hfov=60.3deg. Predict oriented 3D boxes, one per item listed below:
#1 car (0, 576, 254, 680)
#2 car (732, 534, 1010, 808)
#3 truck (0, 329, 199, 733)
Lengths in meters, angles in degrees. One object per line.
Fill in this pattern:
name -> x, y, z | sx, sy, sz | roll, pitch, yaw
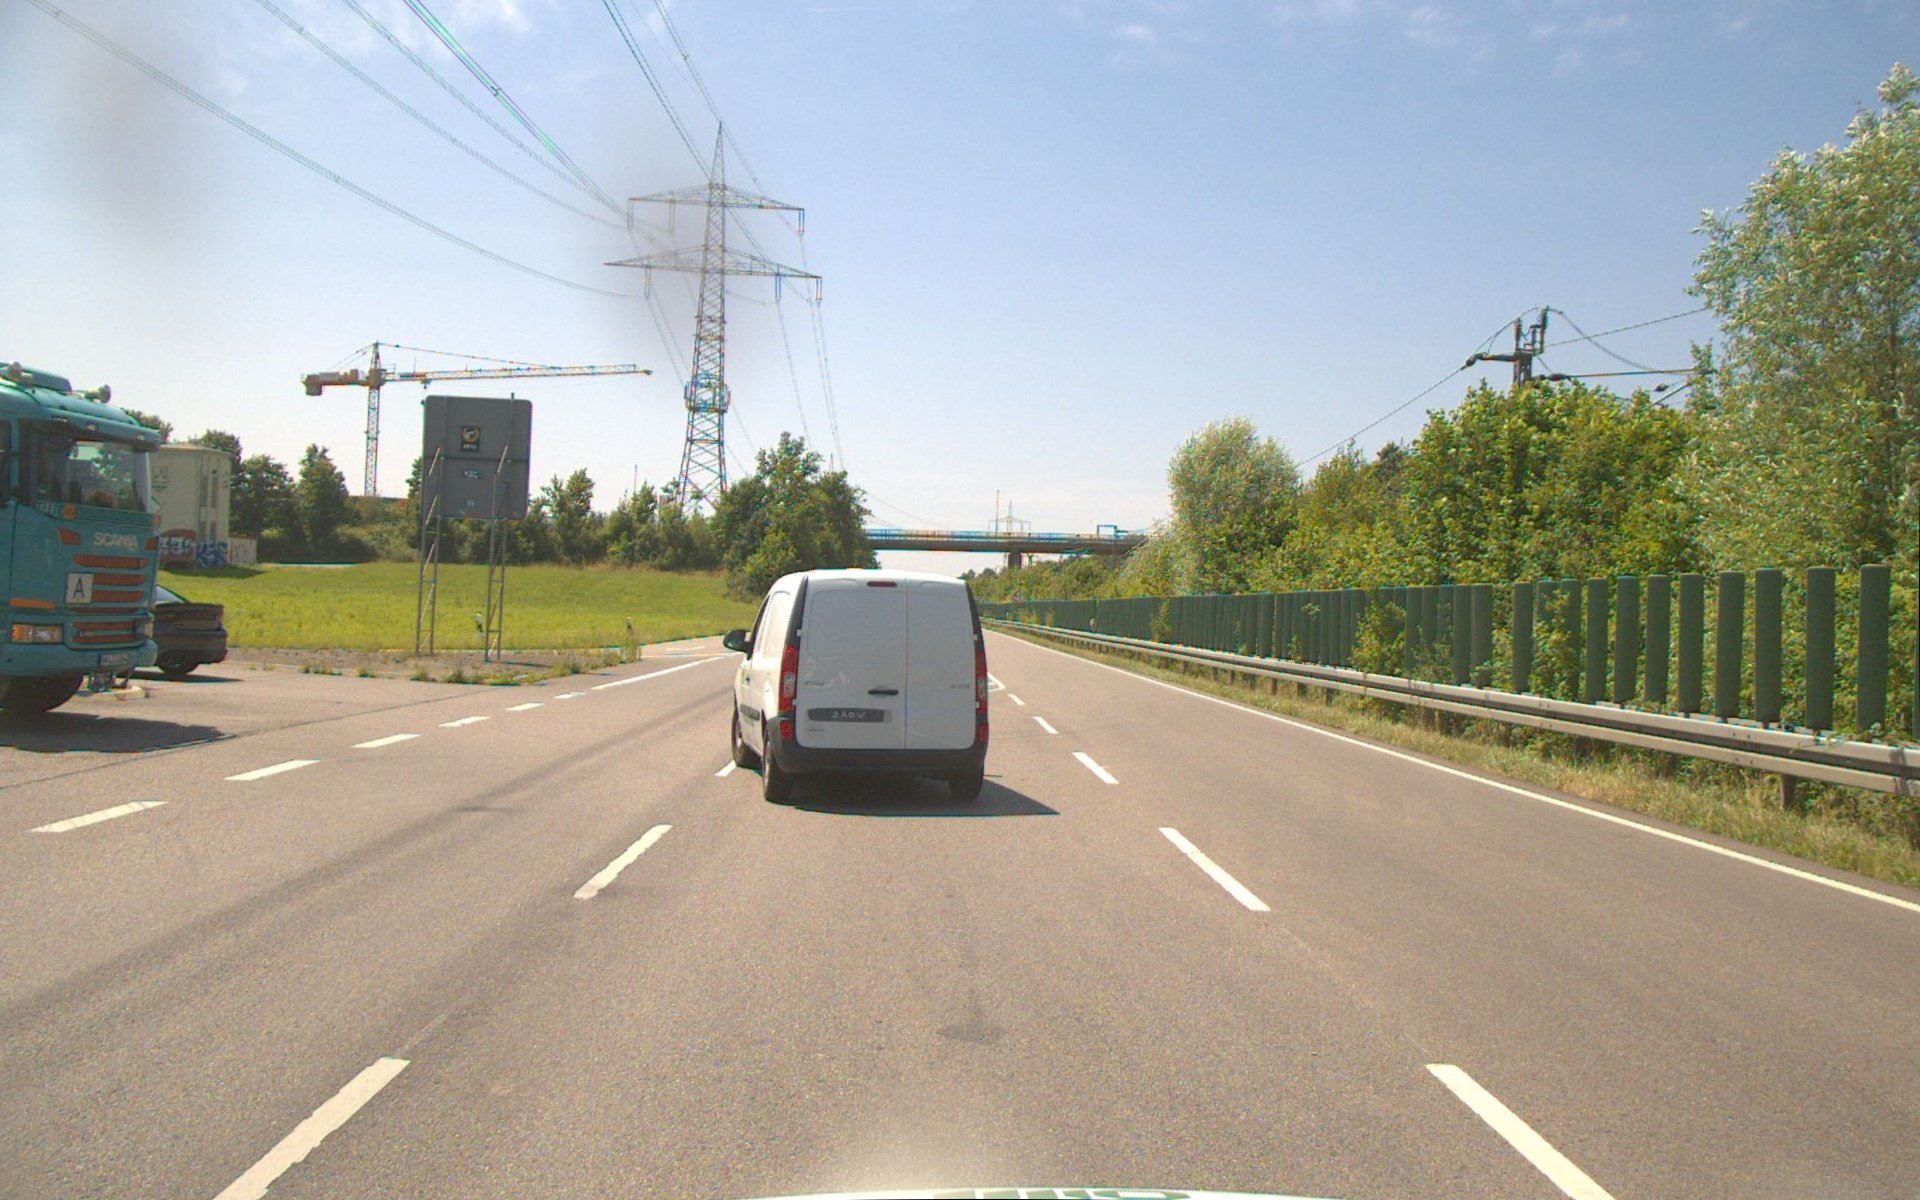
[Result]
car -> -13.327, 0.402, 25.605 | 4.547, 1.421, 1.860 | 2, -1, 26
car -> -0.911, 0.531, 14.243 | 1.795, 2.005, 3.988 | 1, 0, -12
truck -> -12.384, -0.878, 16.996 | 7.743, 3.799, 2.498 | 4, -1, 1
